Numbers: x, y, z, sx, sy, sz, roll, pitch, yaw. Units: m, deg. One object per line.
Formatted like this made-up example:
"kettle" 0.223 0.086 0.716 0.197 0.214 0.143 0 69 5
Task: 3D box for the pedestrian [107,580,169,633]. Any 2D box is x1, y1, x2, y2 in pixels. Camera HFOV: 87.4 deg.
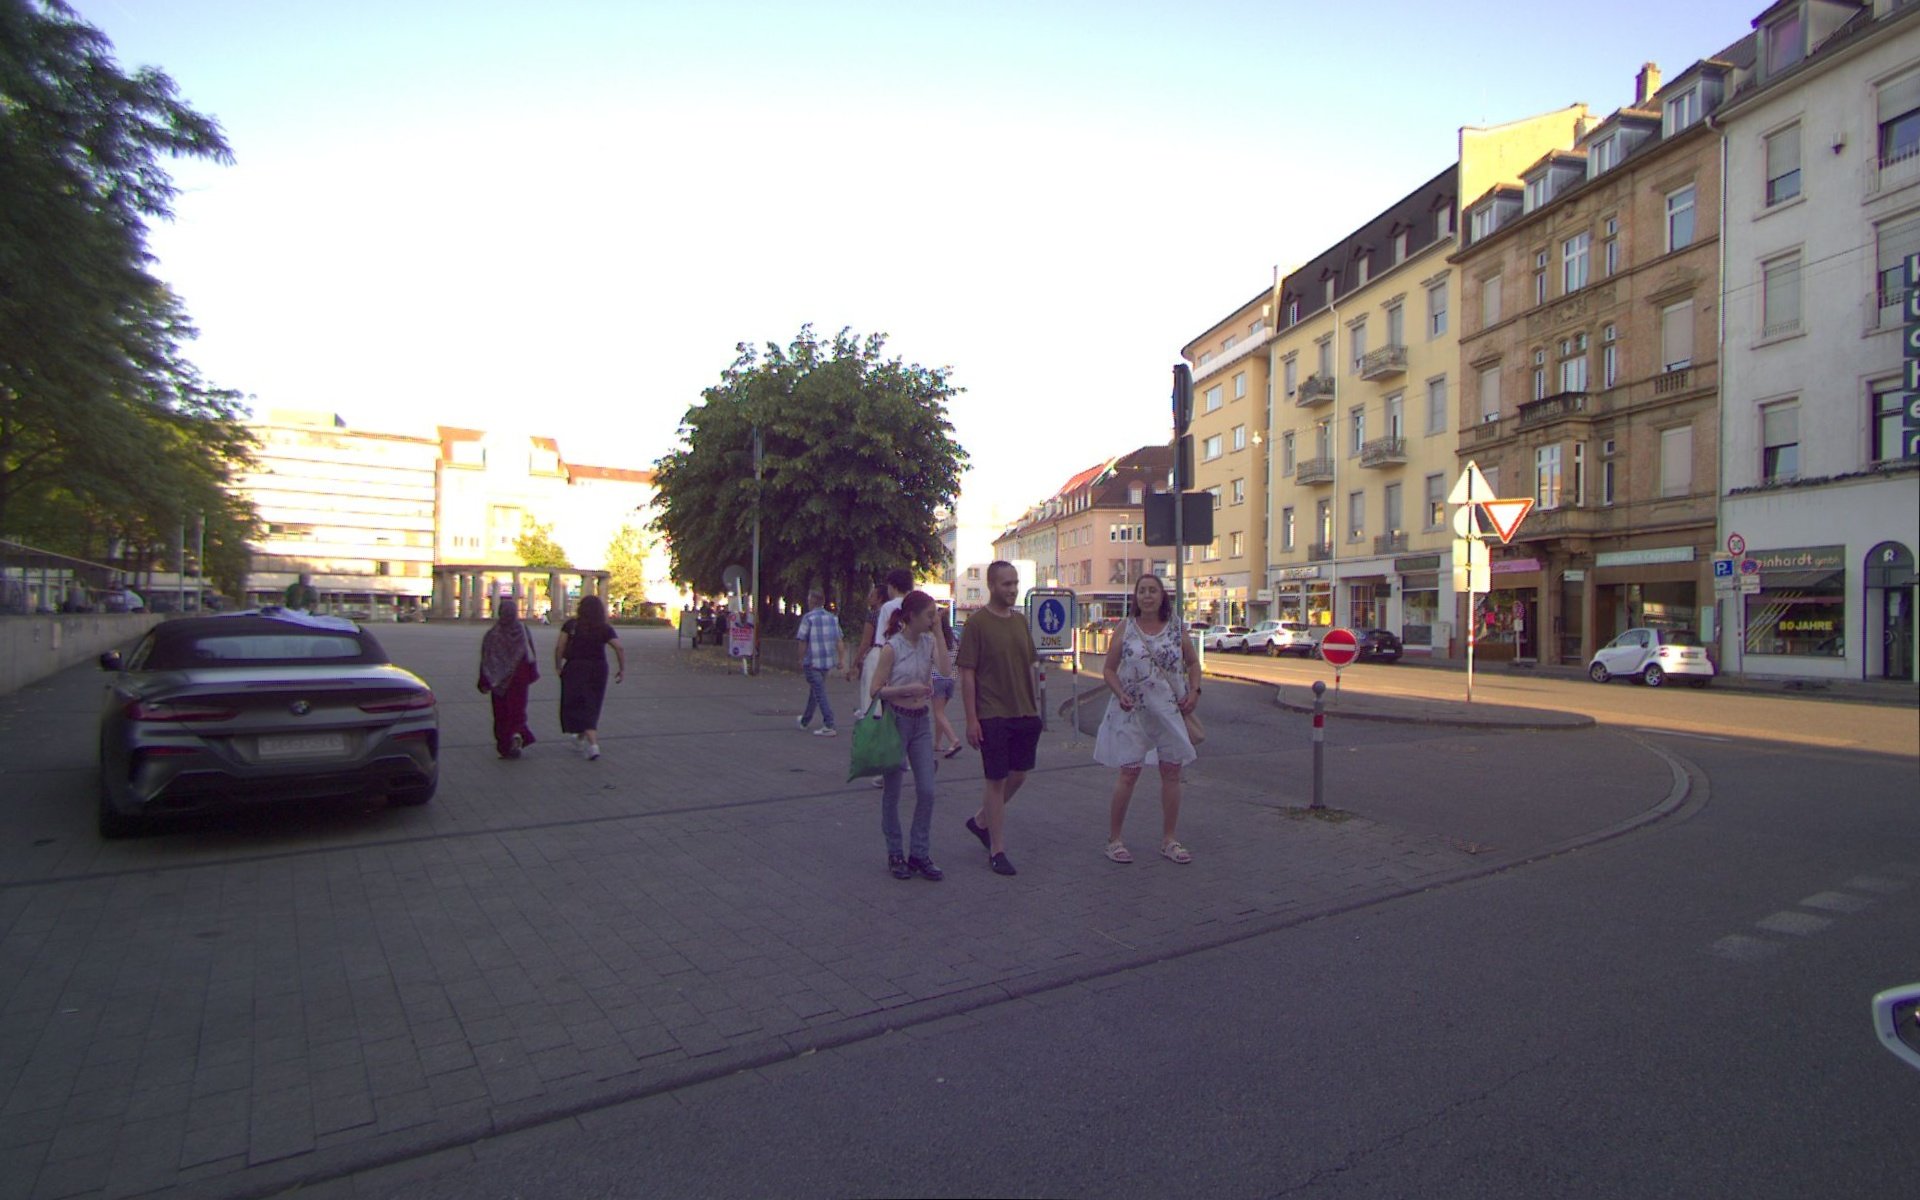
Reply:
"pedestrian" -22.481 0.180 27.491 1.256 1.398 0.729 2 -1 -38

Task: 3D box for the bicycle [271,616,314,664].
"bicycle" -13.202 0.779 19.880 0.632 0.893 1.616 1 -1 -32

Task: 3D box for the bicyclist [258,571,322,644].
"bicyclist" -13.300 0.155 19.968 1.000 1.408 0.694 1 -1 -32

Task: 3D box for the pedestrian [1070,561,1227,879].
"pedestrian" 1.175 0.696 6.255 0.865 1.827 0.715 2 0 12

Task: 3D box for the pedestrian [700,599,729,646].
"pedestrian" -10.909 1.020 44.669 0.896 2.040 0.919 1 -1 13

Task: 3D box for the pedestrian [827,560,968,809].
"pedestrian" -0.482 0.647 8.167 0.965 1.878 0.890 2 0 6

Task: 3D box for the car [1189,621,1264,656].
"car" 13.874 1.992 52.617 1.986 1.564 4.861 2 0 -9

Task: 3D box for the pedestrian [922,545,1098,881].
"pedestrian" 0.286 0.647 6.149 0.839 1.902 0.712 1 0 -18

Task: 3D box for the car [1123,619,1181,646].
"car" 12.234 2.062 64.308 1.965 1.634 4.794 1 -1 -11

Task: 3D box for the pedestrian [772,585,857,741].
"pedestrian" -1.720 0.723 11.934 0.675 1.769 0.715 2 0 27

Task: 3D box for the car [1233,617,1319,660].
"car" 14.682 1.739 46.993 1.854 1.768 4.650 1 0 -10

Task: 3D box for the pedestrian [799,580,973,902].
"pedestrian" -0.404 0.748 5.837 0.700 1.691 0.883 2 0 17

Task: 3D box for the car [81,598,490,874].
"car" -5.425 0.764 7.888 2.090 1.450 4.397 1 0 -40

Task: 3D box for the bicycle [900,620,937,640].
"bicycle" -2.843 2.015 68.253 2.397 1.253 0.516 3 -1 -12

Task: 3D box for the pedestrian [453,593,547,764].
"pedestrian" -4.344 0.721 9.521 0.668 1.563 0.591 1 0 -14

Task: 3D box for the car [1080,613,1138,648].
"car" 8.054 1.640 54.568 1.964 1.773 3.993 2 -1 -10

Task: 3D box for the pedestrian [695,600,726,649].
"pedestrian" -10.694 1.041 43.026 0.896 2.040 0.919 1 -1 13

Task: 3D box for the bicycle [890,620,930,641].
"bicycle" -3.330 2.002 66.630 2.460 1.301 0.816 1 -1 10

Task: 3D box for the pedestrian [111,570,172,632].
"pedestrian" -22.890 0.044 28.109 1.256 1.669 0.701 2 -1 -37

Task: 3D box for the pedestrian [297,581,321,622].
"pedestrian" -31.303 0.071 48.308 0.793 1.974 0.726 1 -1 43

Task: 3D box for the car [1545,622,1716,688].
"car" 18.544 1.468 28.006 1.675 1.606 3.992 1 0 -10

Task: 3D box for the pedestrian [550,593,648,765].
"pedestrian" -3.568 0.745 9.908 0.789 1.603 0.725 1 0 -28

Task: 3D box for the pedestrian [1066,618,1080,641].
"pedestrian" 8.956 2.333 79.696 0.784 1.743 0.809 2 -1 -17

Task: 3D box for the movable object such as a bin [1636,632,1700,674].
"movable object such as a bin" 21.291 1.580 30.234 0.853 1.202 1.395 1 -1 -10

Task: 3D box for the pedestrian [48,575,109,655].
"pedestrian" -19.642 0.335 22.409 0.912 1.749 0.696 2 -1 -36

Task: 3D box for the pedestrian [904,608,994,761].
"pedestrian" -0.111 0.846 10.463 0.703 1.506 0.603 2 0 27

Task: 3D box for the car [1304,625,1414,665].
"car" 16.275 1.820 41.297 1.964 1.453 4.842 2 -1 -10

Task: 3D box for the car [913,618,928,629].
"car" -6.654 4.048 170.221 1.964 1.803 3.994 2 -1 -9

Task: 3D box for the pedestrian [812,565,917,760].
"pedestrian" -0.971 0.607 10.262 0.767 1.900 0.714 2 0 27

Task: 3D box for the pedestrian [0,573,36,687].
"pedestrian" -14.906 0.457 15.538 0.796 1.749 0.617 1 -1 -36

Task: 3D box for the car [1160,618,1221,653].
"car" 13.276 2.028 58.166 1.840 1.785 4.399 1 0 -10
